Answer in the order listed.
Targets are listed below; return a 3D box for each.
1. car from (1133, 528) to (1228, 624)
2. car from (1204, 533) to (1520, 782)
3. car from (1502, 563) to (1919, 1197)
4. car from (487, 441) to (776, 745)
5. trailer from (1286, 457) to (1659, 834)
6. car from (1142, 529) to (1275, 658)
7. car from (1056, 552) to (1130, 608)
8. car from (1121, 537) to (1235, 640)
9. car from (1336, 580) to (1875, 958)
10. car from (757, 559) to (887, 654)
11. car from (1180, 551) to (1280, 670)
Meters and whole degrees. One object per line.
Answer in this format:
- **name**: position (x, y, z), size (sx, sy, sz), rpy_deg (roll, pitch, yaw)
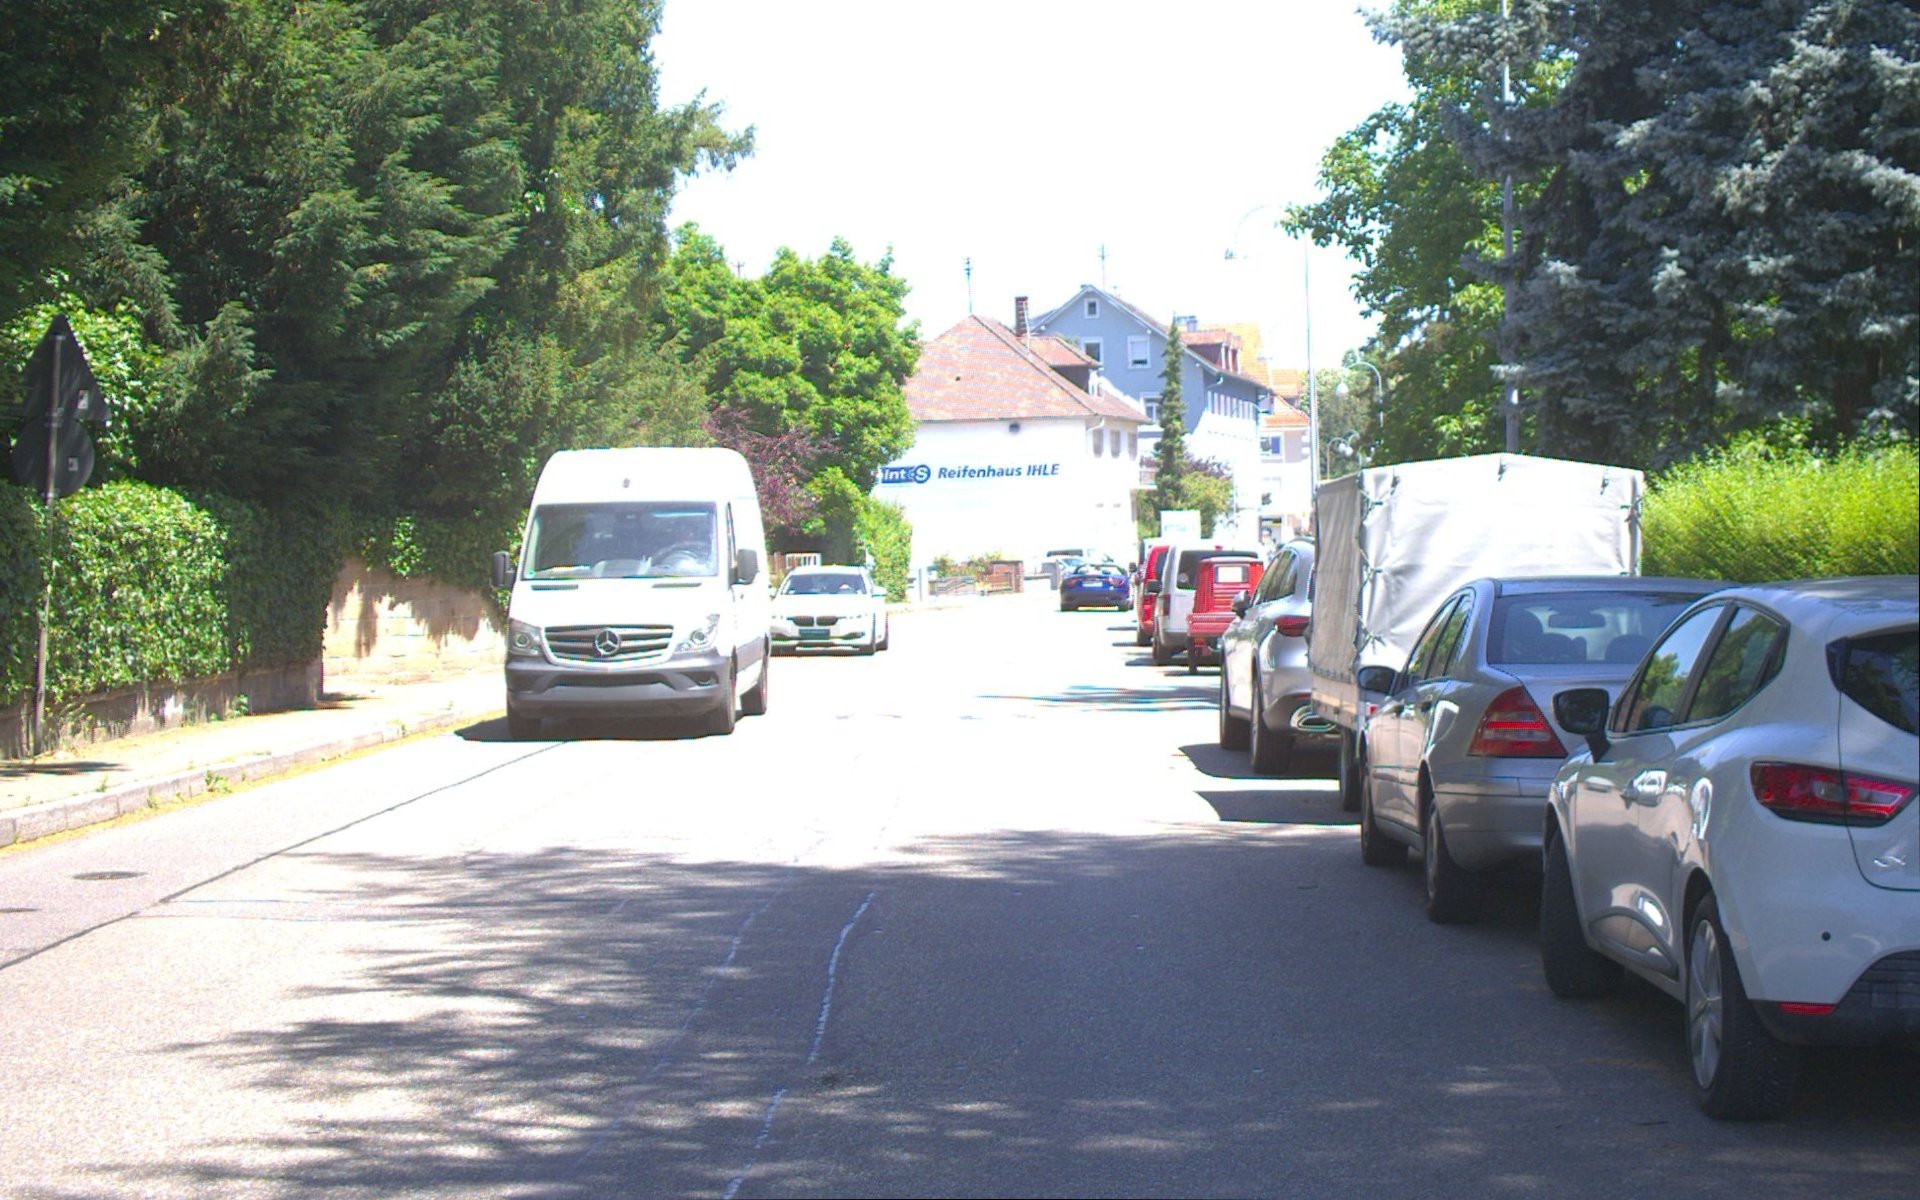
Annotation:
- **car**: position (4.674, -0.552, 73.395), size (1.903, 1.918, 4.718), rpy_deg (-1, 1, 3)
- **car**: position (2.860, 0.343, 25.354), size (1.771, 1.626, 4.605), rpy_deg (0, 2, 0)
- **car**: position (2.746, 0.662, 10.398), size (1.614, 1.464, 4.064), rpy_deg (-1, 1, 1)
- **car**: position (-2.923, -0.107, 31.867), size (1.993, 2.524, 5.894), rpy_deg (-1, 1, 1)
- **trailer**: position (2.988, 0.199, 20.695), size (1.680, 2.061, 3.708), rpy_deg (0, 2, 0)
- **car**: position (3.560, -0.130, 49.901), size (1.746, 1.776, 4.543), rpy_deg (0, 1, 2)
- **car**: position (3.727, -0.571, 95.764), size (1.794, 1.505, 3.999), rpy_deg (0, 1, 6)
- **car**: position (3.757, -0.229, 59.766), size (1.903, 1.722, 4.391), rpy_deg (0, 1, 3)
- **car**: position (2.678, 0.630, 15.156), size (1.614, 1.391, 4.259), rpy_deg (0, 1, 1)
- **car**: position (-2.233, 0.073, 56.641), size (1.864, 1.379, 4.605), rpy_deg (-2, 2, 1)
- **car**: position (3.516, 0.114, 45.062), size (1.261, 1.490, 2.709), rpy_deg (0, 1, 4)
